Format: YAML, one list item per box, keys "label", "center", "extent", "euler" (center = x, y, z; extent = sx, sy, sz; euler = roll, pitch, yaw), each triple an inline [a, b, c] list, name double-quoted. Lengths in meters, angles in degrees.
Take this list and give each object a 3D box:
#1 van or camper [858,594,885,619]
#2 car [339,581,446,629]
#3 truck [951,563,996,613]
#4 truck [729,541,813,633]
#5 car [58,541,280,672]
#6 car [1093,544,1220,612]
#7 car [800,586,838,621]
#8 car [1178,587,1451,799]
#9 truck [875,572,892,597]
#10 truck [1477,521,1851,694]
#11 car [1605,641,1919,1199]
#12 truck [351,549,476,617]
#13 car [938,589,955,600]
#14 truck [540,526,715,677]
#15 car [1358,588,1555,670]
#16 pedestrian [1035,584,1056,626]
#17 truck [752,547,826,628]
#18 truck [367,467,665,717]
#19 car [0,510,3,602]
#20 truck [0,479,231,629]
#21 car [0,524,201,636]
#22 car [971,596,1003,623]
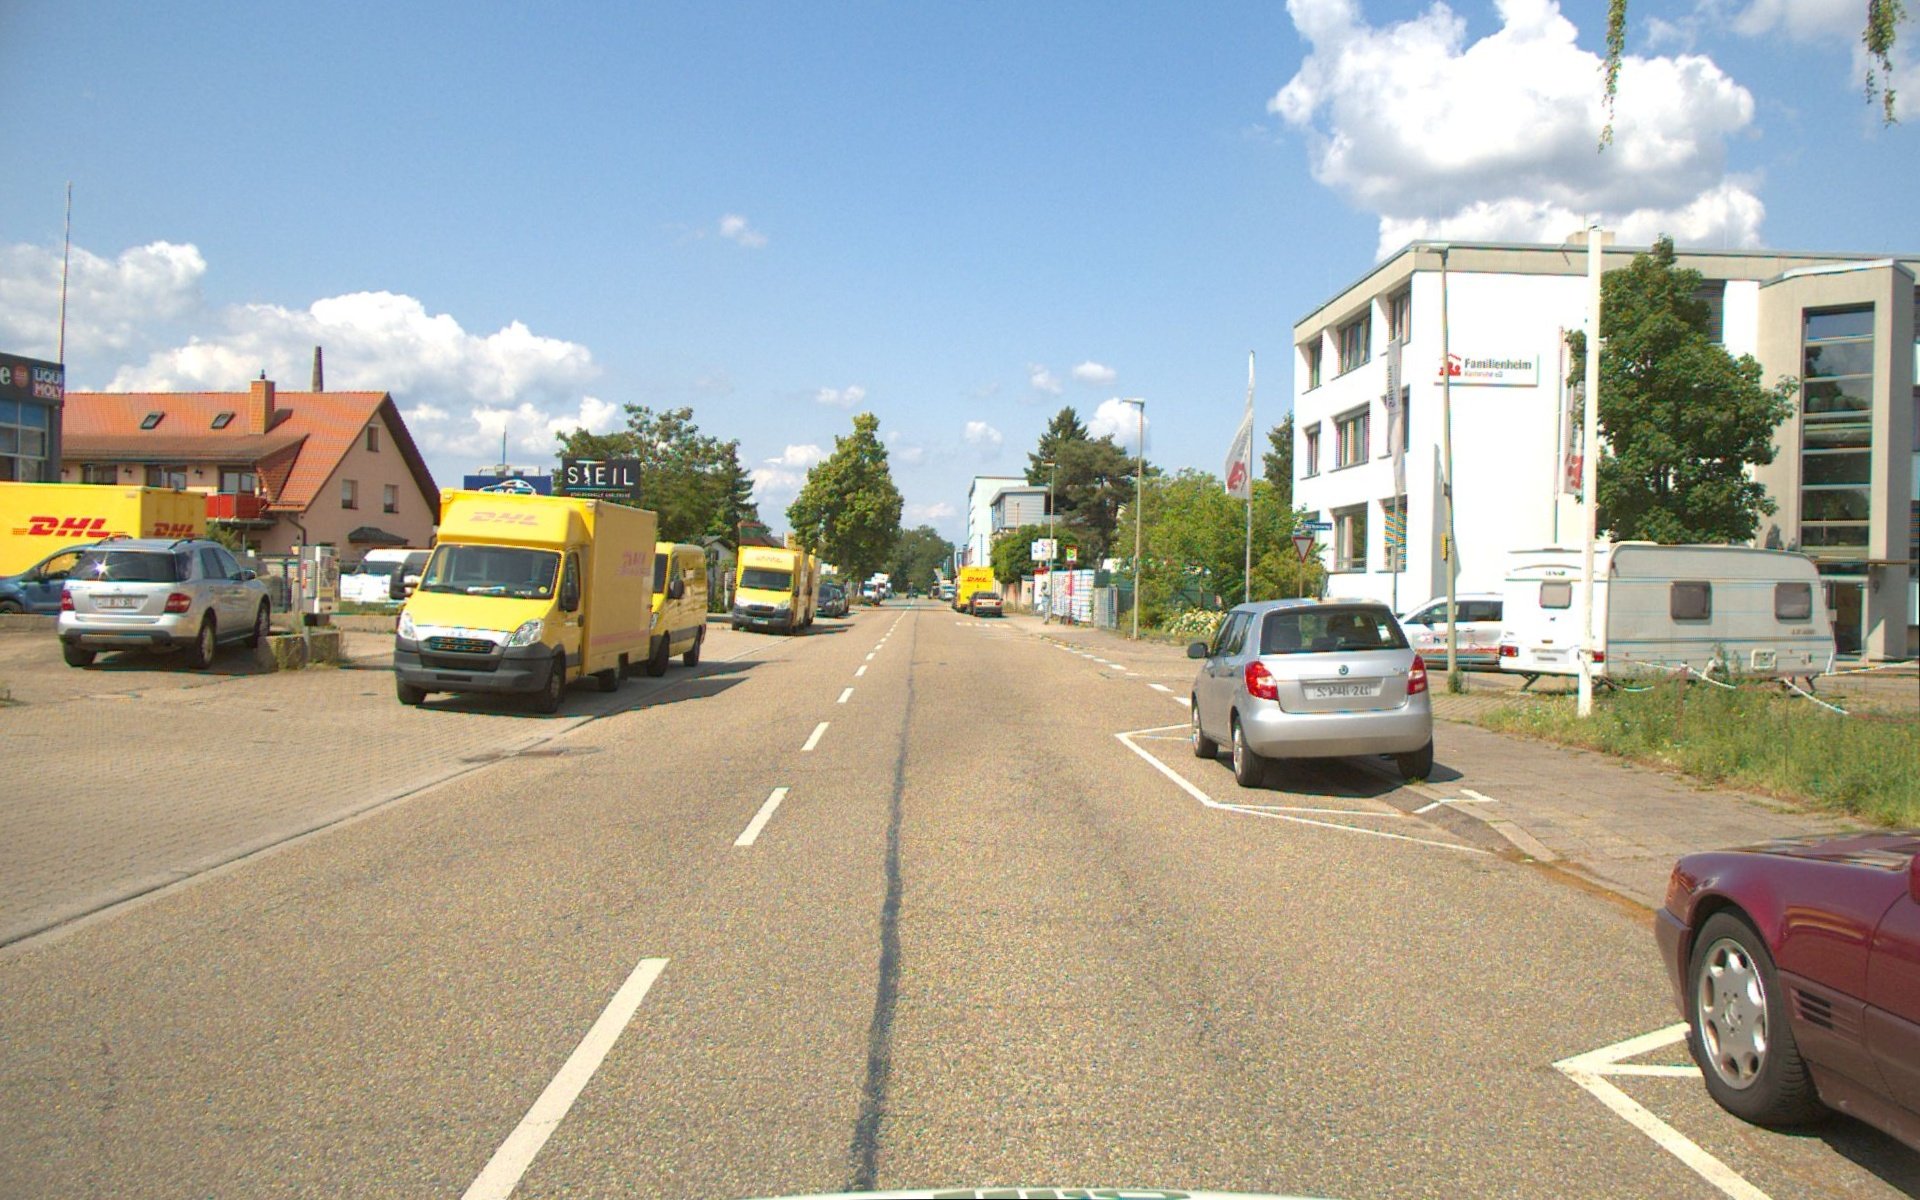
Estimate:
- label: "van or camper"
  center: [-8.871, 0.608, 166.479]
  extent: [2.128, 2.455, 7.699]
  euler: [1, 0, 2]
- label: "car"
  center: [-19.446, 0.157, 56.814]
  extent: [1.727, 1.539, 3.921]
  euler: [1, 0, 11]
- label: "truck"
  center: [0.831, -0.762, 107.260]
  extent: [2.425, 2.991, 7.185]
  euler: [2, 0, -3]
- label: "truck"
  center: [-6.421, -0.402, 57.038]
  extent: [2.223, 2.904, 7.171]
  euler: [2, 0, -2]
- label: "car"
  center: [-11.759, 0.018, 24.943]
  extent: [1.795, 1.735, 4.698]
  euler: [1, 2, -10]
- label: "car"
  center: [8.108, -0.910, 68.532]
  extent: [4.816, 2.698, 2.069]
  euler: [1, 0, -9]
- label: "car"
  center: [-7.177, 0.145, 84.437]
  extent: [1.690, 1.632, 4.411]
  euler: [4, 0, -3]
- label: "car"
  center: [3.062, 0.723, 15.046]
  extent: [1.577, 1.608, 4.000]
  euler: [2, 0, 0]
- label: "truck"
  center: [-9.810, -1.973, 211.731]
  extent: [1.988, 3.209, 6.498]
  euler: [1, 0, -1]
- label: "truck"
  center: [11.766, 0.152, 27.570]
  extent: [5.970, 2.622, 2.543]
  euler: [1, 0, -28]
- label: "car"
  center: [3.216, 0.864, 3.769]
  extent: [1.635, 1.358, 4.436]
  euler: [1, 0, -2]
- label: "truck"
  center: [-21.517, -0.664, 65.427]
  extent: [2.065, 2.531, 5.725]
  euler: [1, 0, 12]
- label: "car"
  center: [-1.638, -0.677, 199.860]
  extent: [1.889, 1.333, 3.999]
  euler: [1, 0, -2]
- label: "truck"
  center: [-5.945, 0.001, 30.413]
  extent: [1.953, 2.456, 6.064]
  euler: [1, 0, 0]
- label: "car"
  center: [11.616, 0.681, 38.820]
  extent: [4.302, 1.783, 1.865]
  euler: [1, -2, 17]
- label: "pedestrian"
  center: [3.619, 0.222, 70.056]
  extent: [0.702, 1.726, 0.522]
  euler: [-4, 0, -6]
- label: "truck"
  center: [-6.781, -0.497, 66.469]
  extent: [2.269, 2.912, 7.102]
  euler: [3, 0, -2]
- label: "truck"
  center: [-5.978, -0.123, 23.478]
  extent: [2.175, 2.906, 7.069]
  euler: [3, 0, 0]
- label: "car"
  center: [-20.329, -0.869, 31.110]
  extent: [3.760, 1.761, 1.734]
  euler: [1, 0, 9]
- label: "truck"
  center: [-18.815, -0.978, 34.269]
  extent: [6.457, 2.900, 2.531]
  euler: [1, 0, 11]
- label: "car"
  center: [-16.368, -0.396, 30.504]
  extent: [3.845, 1.841, 1.857]
  euler: [3, 1, 8]
- label: "car"
  center: [1.539, 0.532, 95.751]
  extent: [1.618, 1.411, 4.422]
  euler: [2, 1, -1]
